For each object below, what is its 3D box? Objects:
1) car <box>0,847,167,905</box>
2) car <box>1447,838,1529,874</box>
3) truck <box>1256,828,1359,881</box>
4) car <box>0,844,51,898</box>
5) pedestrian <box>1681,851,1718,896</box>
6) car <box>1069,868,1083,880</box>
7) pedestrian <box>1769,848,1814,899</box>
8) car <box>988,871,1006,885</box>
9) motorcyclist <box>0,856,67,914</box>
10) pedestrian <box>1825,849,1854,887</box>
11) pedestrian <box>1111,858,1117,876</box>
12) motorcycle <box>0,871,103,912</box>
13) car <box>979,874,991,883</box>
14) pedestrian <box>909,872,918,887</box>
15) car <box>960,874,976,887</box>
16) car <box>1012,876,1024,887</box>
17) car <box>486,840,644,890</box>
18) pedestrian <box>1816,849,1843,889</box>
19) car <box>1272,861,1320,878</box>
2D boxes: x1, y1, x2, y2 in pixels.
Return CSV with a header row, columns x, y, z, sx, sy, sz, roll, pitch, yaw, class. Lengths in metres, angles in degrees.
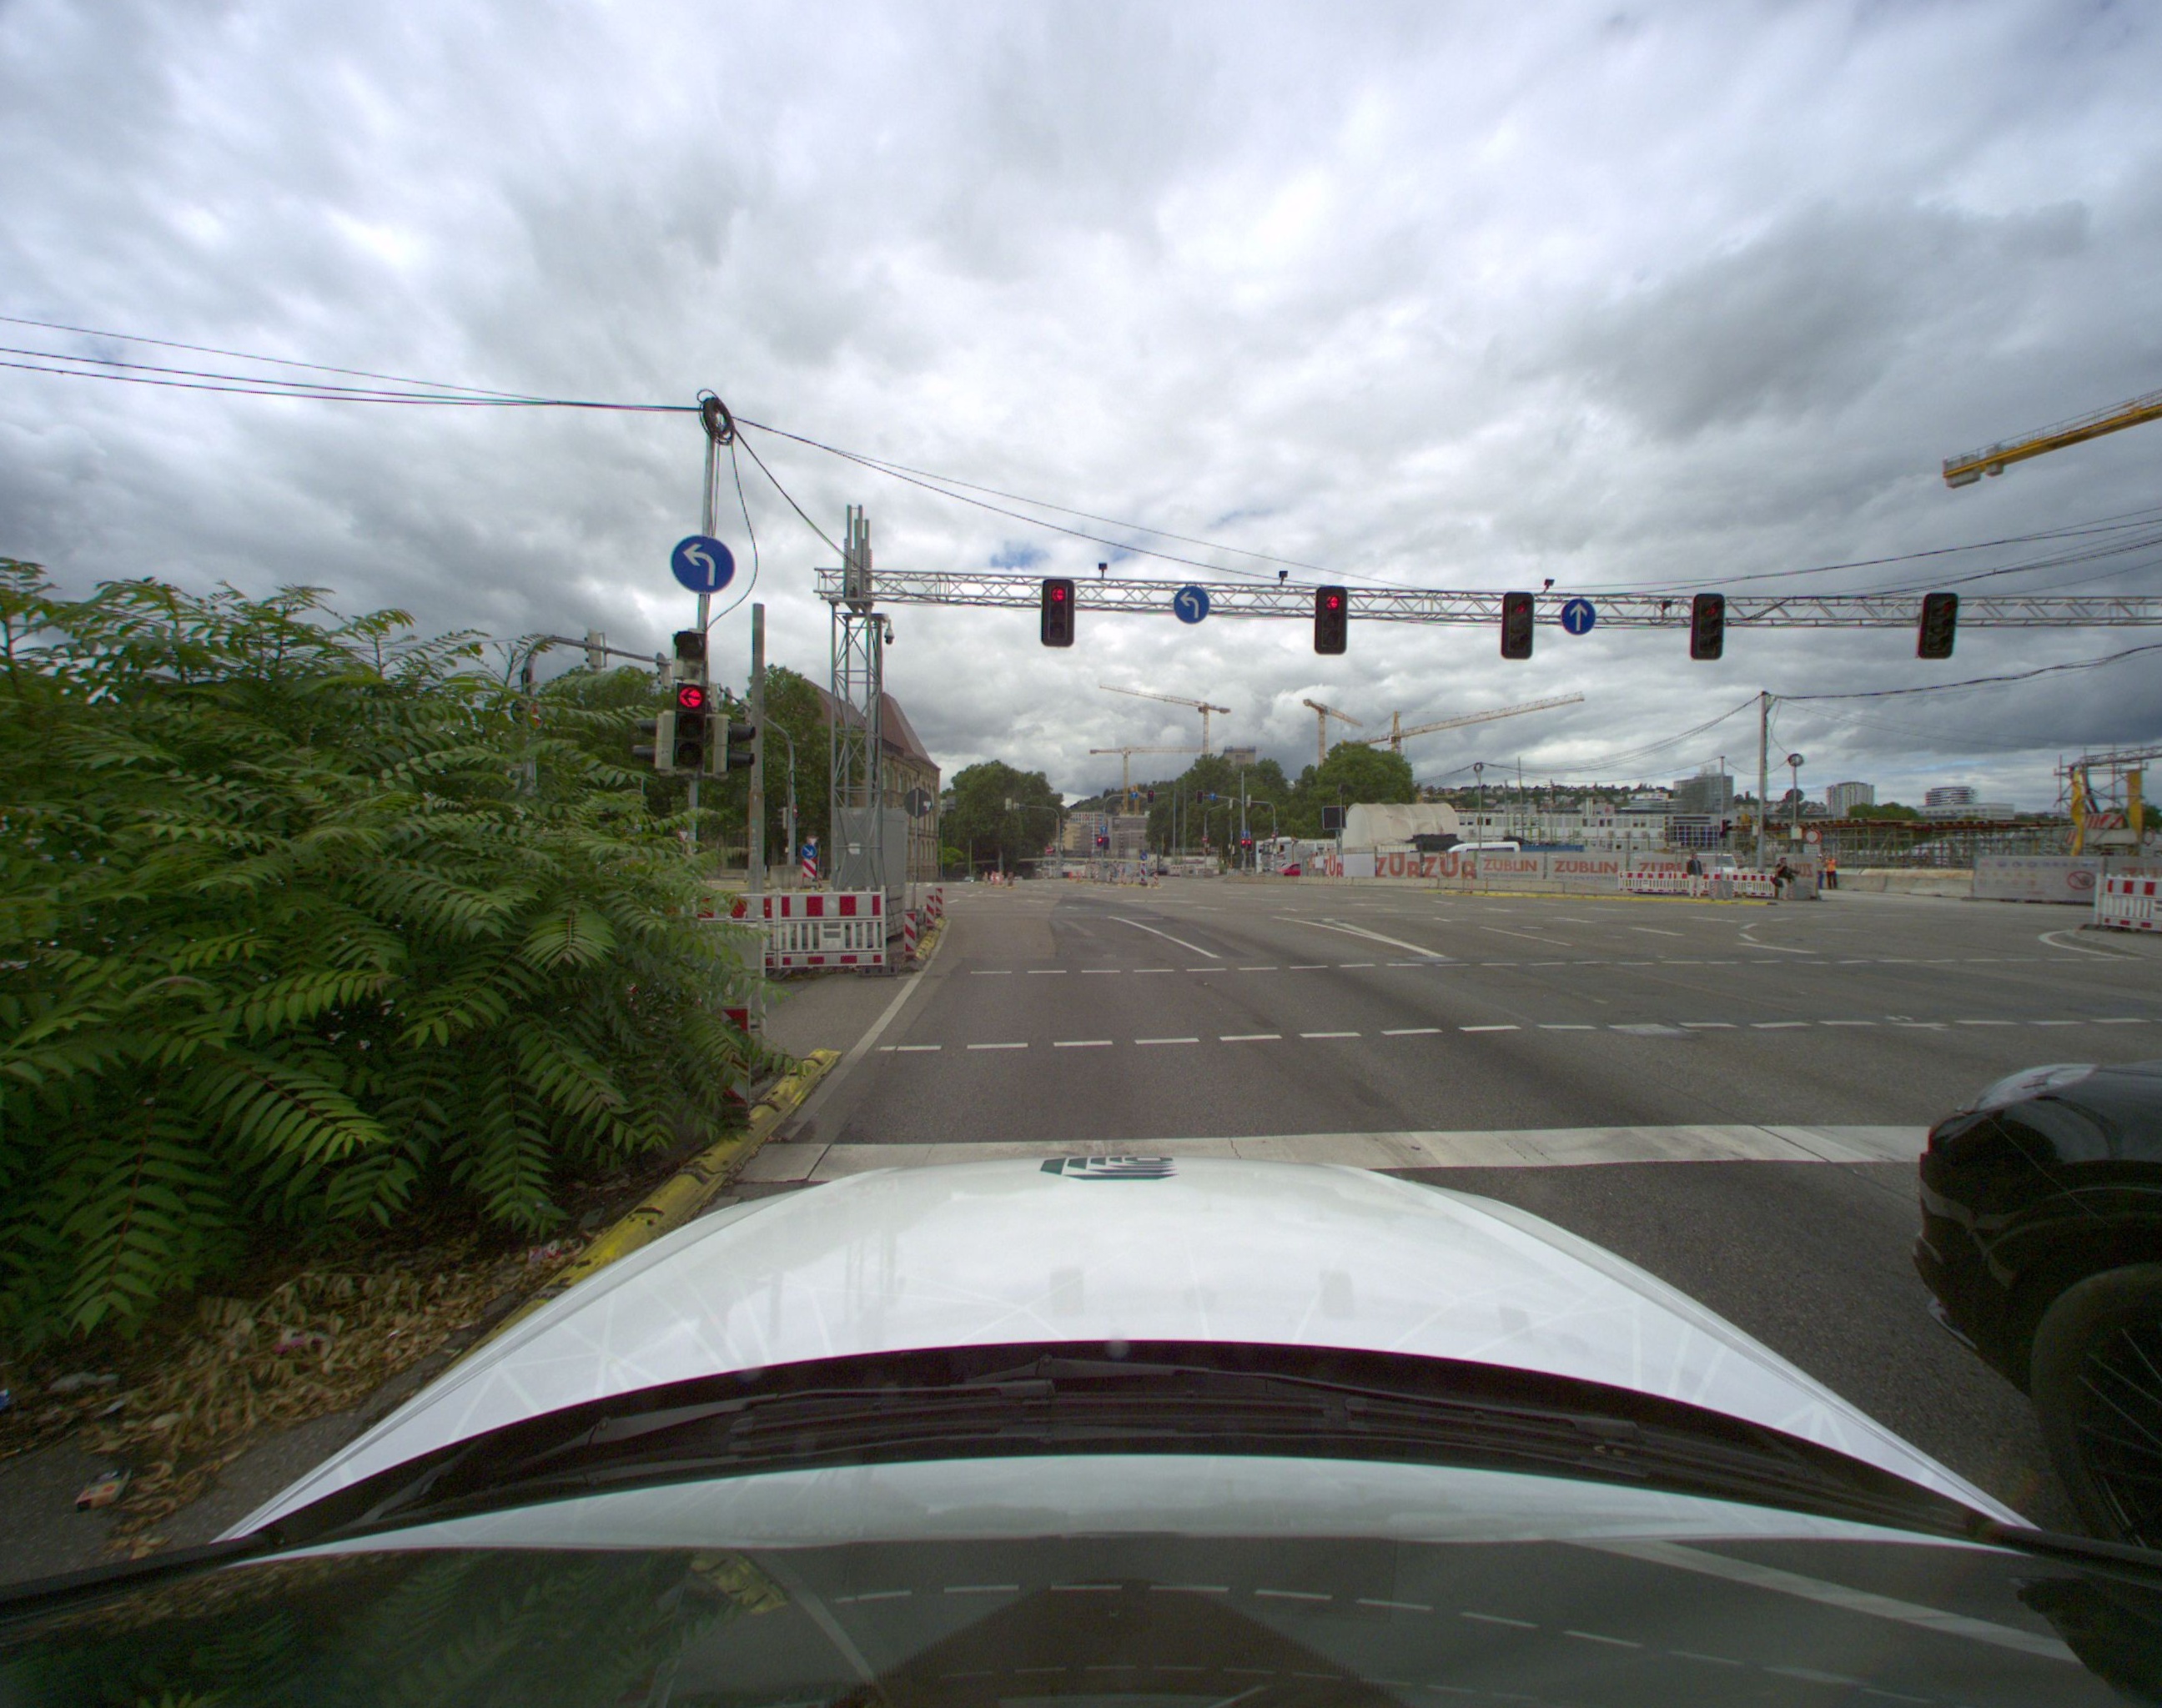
x,y,z,sx,sy,sz,roll,pitch,yaw,class
-28.900,0.600,22.862,4.095,1.547,1.999,0,-1,-2,car
23.467,0.120,47.099,3.955,2.014,2.009,-1,-1,17,car
22.295,0.043,80.158,9.743,4.961,3.094,0,-1,-19,truck
-32.744,0.496,23.217,4.095,1.547,1.999,0,-1,-1,car
25.834,0.811,34.033,1.035,1.848,0.794,-1,-1,17,pedestrian
-0.854,3.325,137.196,1.990,2.014,3.993,0,-1,-5,car
28.645,0.795,32.846,1.035,2.014,1.039,-1,-1,17,pedestrian
-11.605,3.346,112.789,1.987,1.838,3.998,0,-1,-1,car
-25.554,0.742,19.835,0.786,1.380,0.697,0,-1,-2,motorcyclist
39.114,0.728,41.991,0.677,1.916,0.865,0,-1,-4,pedestrian
3.305,1.297,81.872,0.583,1.840,0.604,0,-1,-2,pedestrian
-25.445,0.909,19.831,2.342,0.941,0.697,0,-1,-2,motorcycle
-19.876,5.104,168.781,1.987,1.838,3.998,0,-1,-1,car
-21.888,3.339,106.505,0.946,2.014,0.767,0,-1,3,pedestrian
-17.449,4.070,126.178,1.987,1.838,3.998,0,-1,-1,car
-11.576,5.051,150.333,1.987,1.838,3.998,0,-1,-1,car
-19.083,0.381,30.329,4.488,1.759,1.994,0,-1,-9,car
38.287,0.745,41.656,0.673,2.014,0.869,-1,-1,14,pedestrian
19.083,1.351,72.268,3.820,1.386,1.792,0,-1,-20,car
